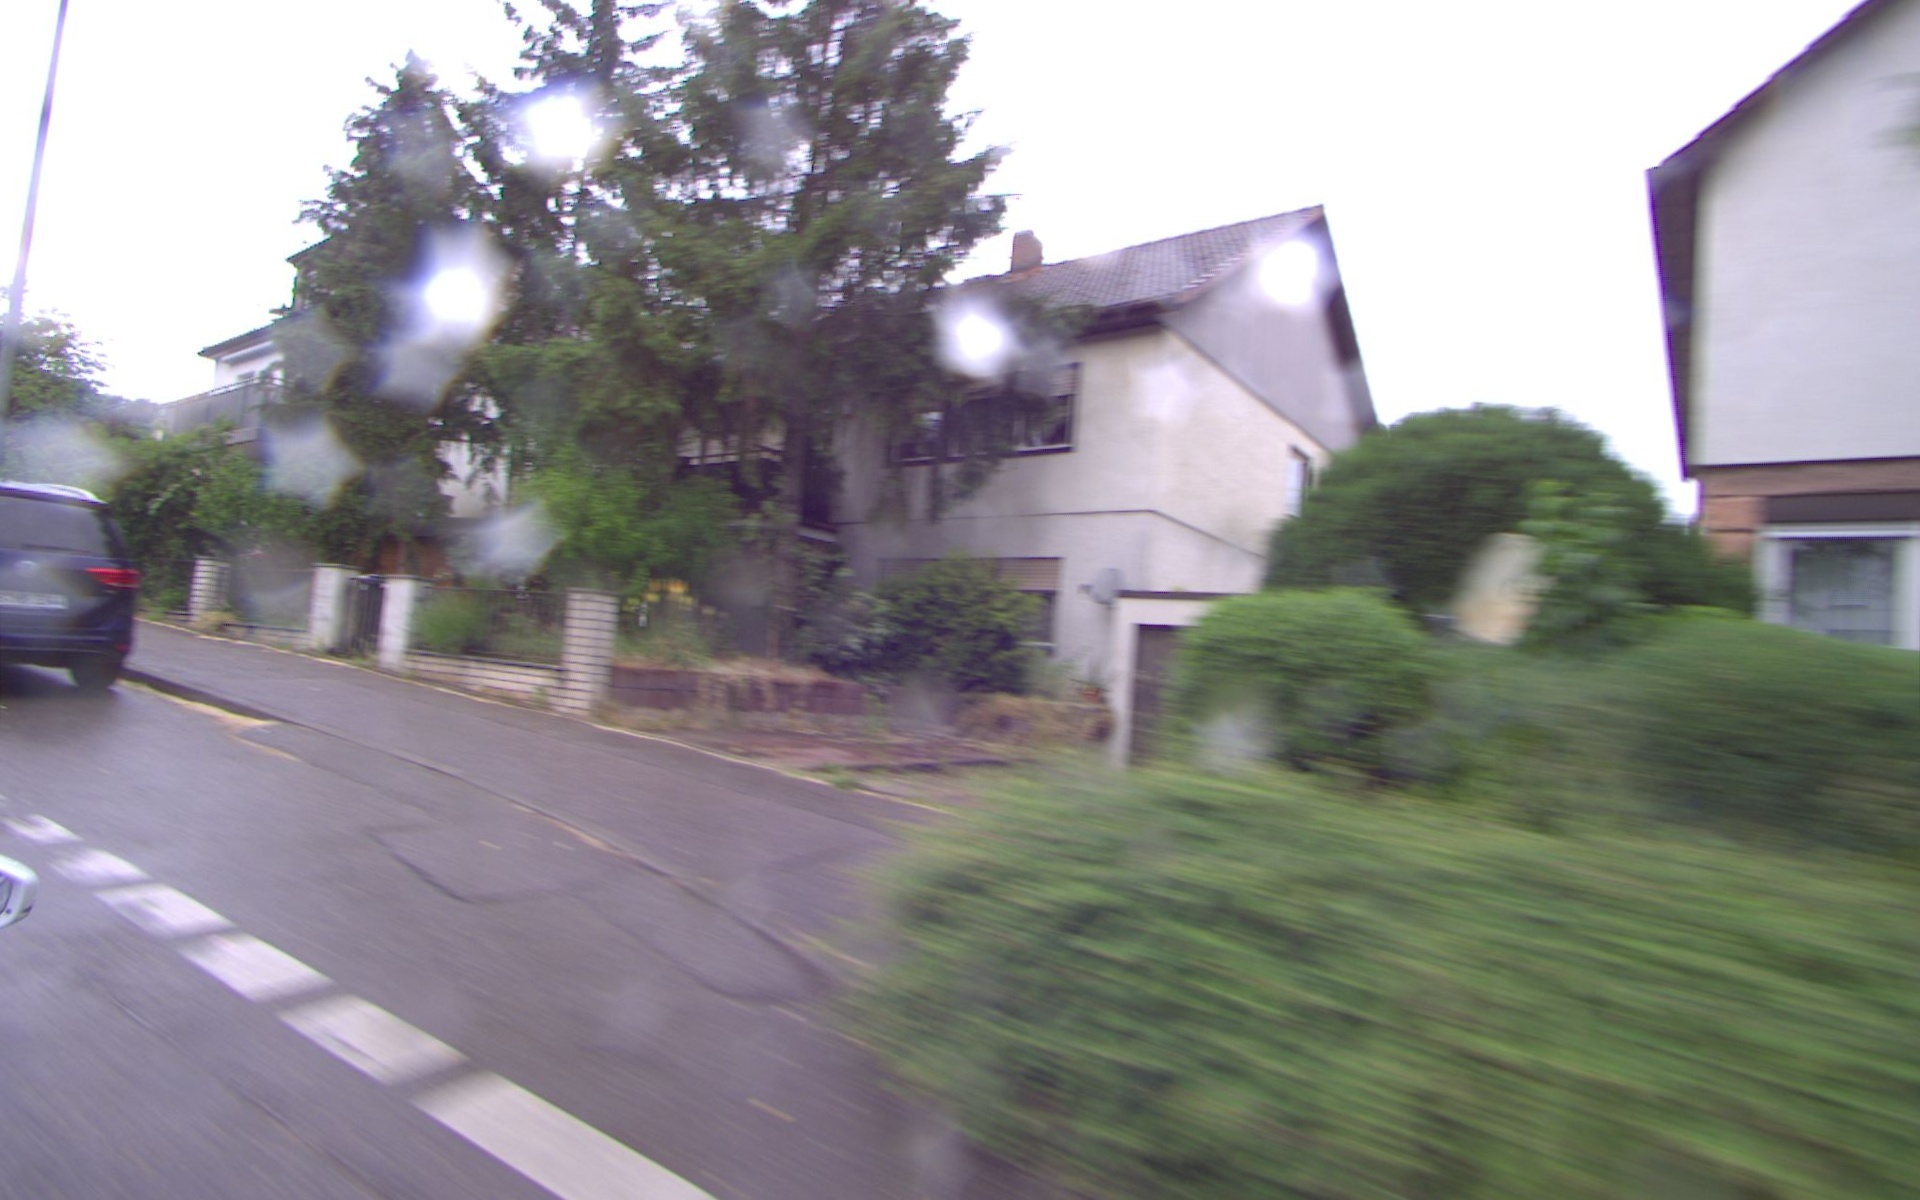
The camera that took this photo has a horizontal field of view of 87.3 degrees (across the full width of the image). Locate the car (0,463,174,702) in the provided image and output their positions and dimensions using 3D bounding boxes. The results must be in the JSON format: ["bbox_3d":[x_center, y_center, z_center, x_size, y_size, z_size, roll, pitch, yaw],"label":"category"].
[{"bbox_3d":[-8.813,-0.319,8.538,4.387,1.720,1.833,6,-2,32],"label":"car"}]

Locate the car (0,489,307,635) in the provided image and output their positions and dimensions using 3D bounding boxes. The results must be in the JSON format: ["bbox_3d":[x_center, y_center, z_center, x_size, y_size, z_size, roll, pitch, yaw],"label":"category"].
[{"bbox_3d":[-14.487,-0.604,18.113,1.747,1.704,4.021,7,-6,30],"label":"car"}]
